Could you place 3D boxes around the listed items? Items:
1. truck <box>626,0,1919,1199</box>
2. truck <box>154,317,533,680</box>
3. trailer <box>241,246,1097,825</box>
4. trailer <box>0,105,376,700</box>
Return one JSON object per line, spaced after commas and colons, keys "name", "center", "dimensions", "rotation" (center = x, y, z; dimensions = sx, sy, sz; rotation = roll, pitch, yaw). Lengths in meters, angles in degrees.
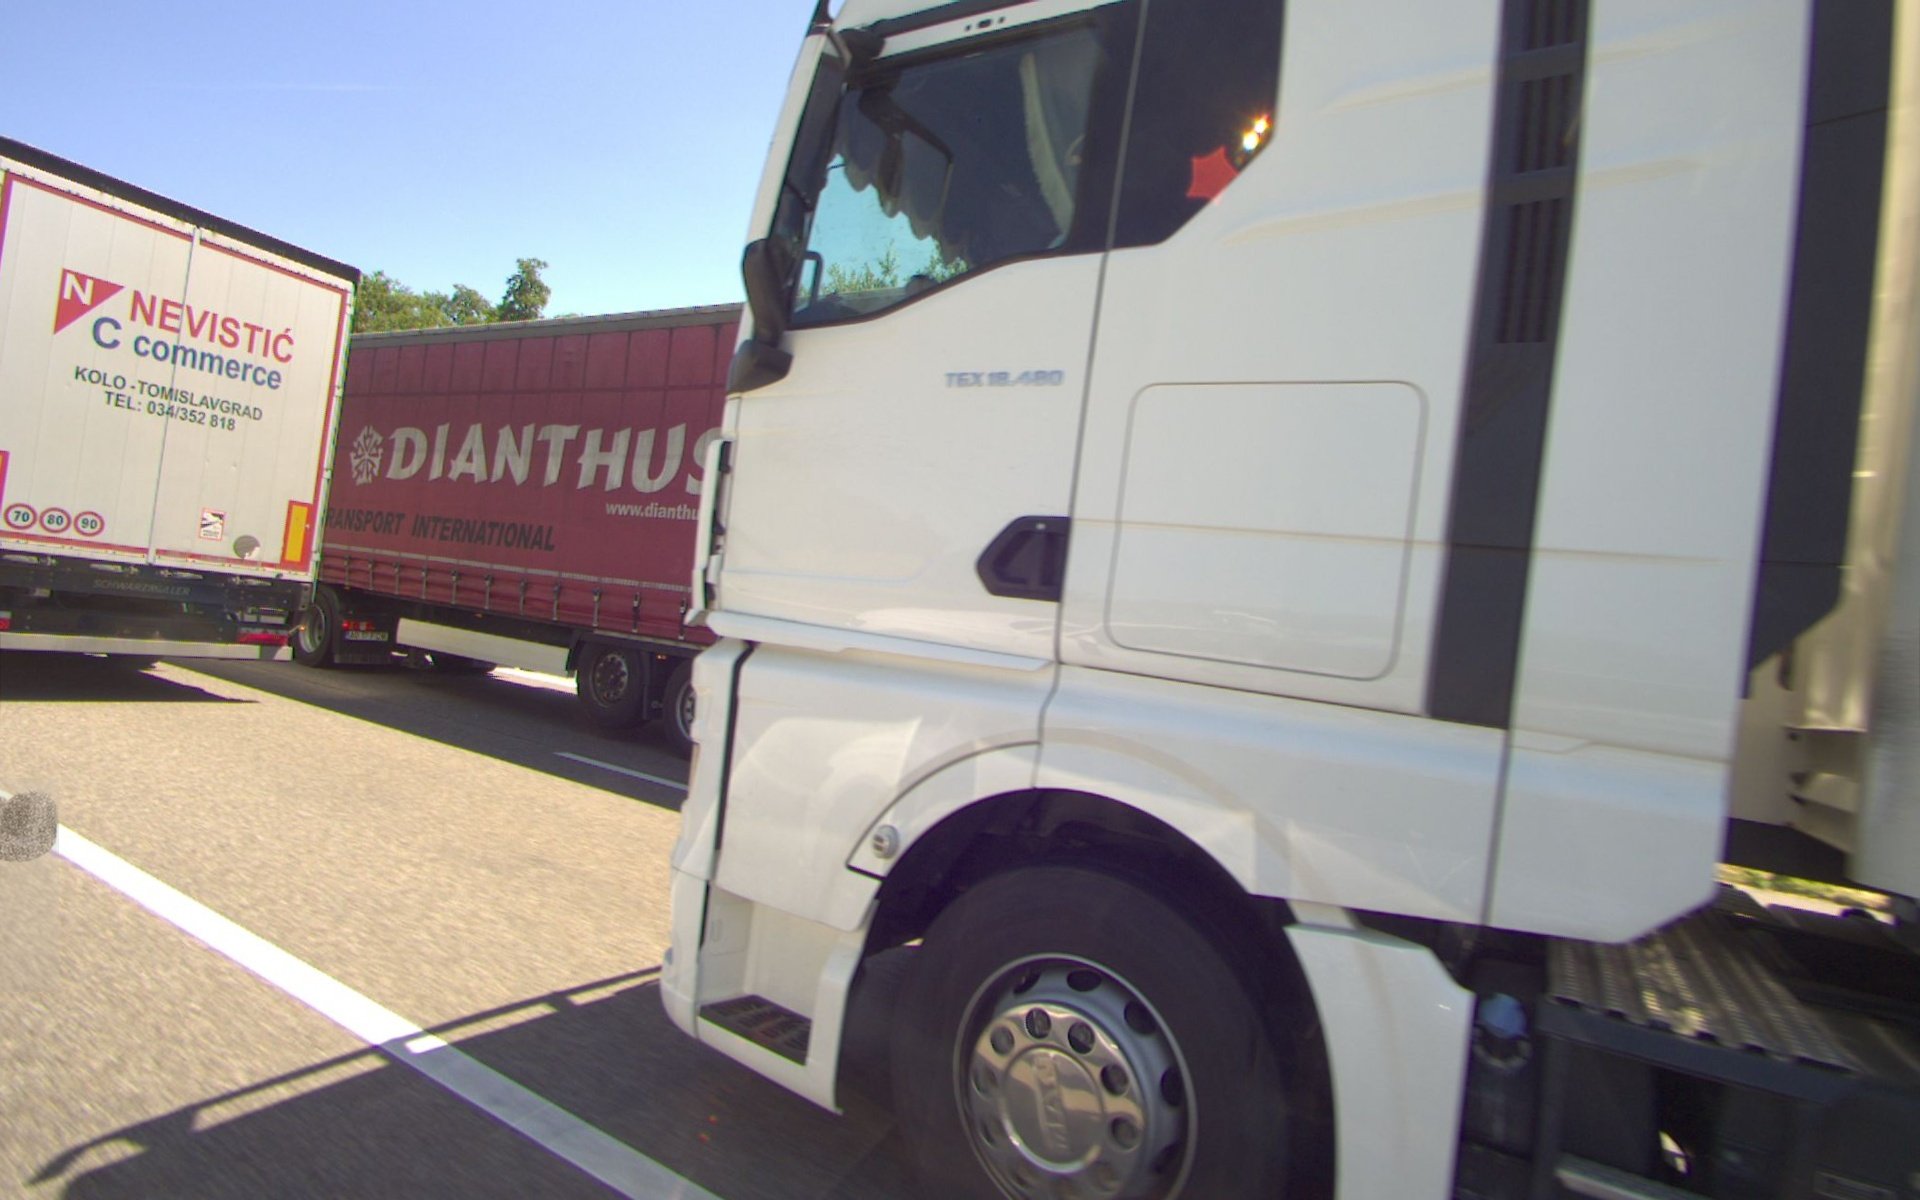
{"name": "truck", "center": [2.584, -0.173, 2.315], "dimensions": [5.920, 4.055, 2.804], "rotation": [7, -1, 31]}
{"name": "truck", "center": [-8.683, -1.328, 14.107], "dimensions": [4.596, 4.281, 2.332], "rotation": [6, -1, 32]}
{"name": "trailer", "center": [-3.981, -0.840, 11.162], "dimensions": [10.478, 4.292, 2.319], "rotation": [6, -1, 32]}
{"name": "trailer", "center": [-12.369, -1.902, 11.804], "dimensions": [14.502, 4.116, 2.712], "rotation": [6, -1, 32]}
